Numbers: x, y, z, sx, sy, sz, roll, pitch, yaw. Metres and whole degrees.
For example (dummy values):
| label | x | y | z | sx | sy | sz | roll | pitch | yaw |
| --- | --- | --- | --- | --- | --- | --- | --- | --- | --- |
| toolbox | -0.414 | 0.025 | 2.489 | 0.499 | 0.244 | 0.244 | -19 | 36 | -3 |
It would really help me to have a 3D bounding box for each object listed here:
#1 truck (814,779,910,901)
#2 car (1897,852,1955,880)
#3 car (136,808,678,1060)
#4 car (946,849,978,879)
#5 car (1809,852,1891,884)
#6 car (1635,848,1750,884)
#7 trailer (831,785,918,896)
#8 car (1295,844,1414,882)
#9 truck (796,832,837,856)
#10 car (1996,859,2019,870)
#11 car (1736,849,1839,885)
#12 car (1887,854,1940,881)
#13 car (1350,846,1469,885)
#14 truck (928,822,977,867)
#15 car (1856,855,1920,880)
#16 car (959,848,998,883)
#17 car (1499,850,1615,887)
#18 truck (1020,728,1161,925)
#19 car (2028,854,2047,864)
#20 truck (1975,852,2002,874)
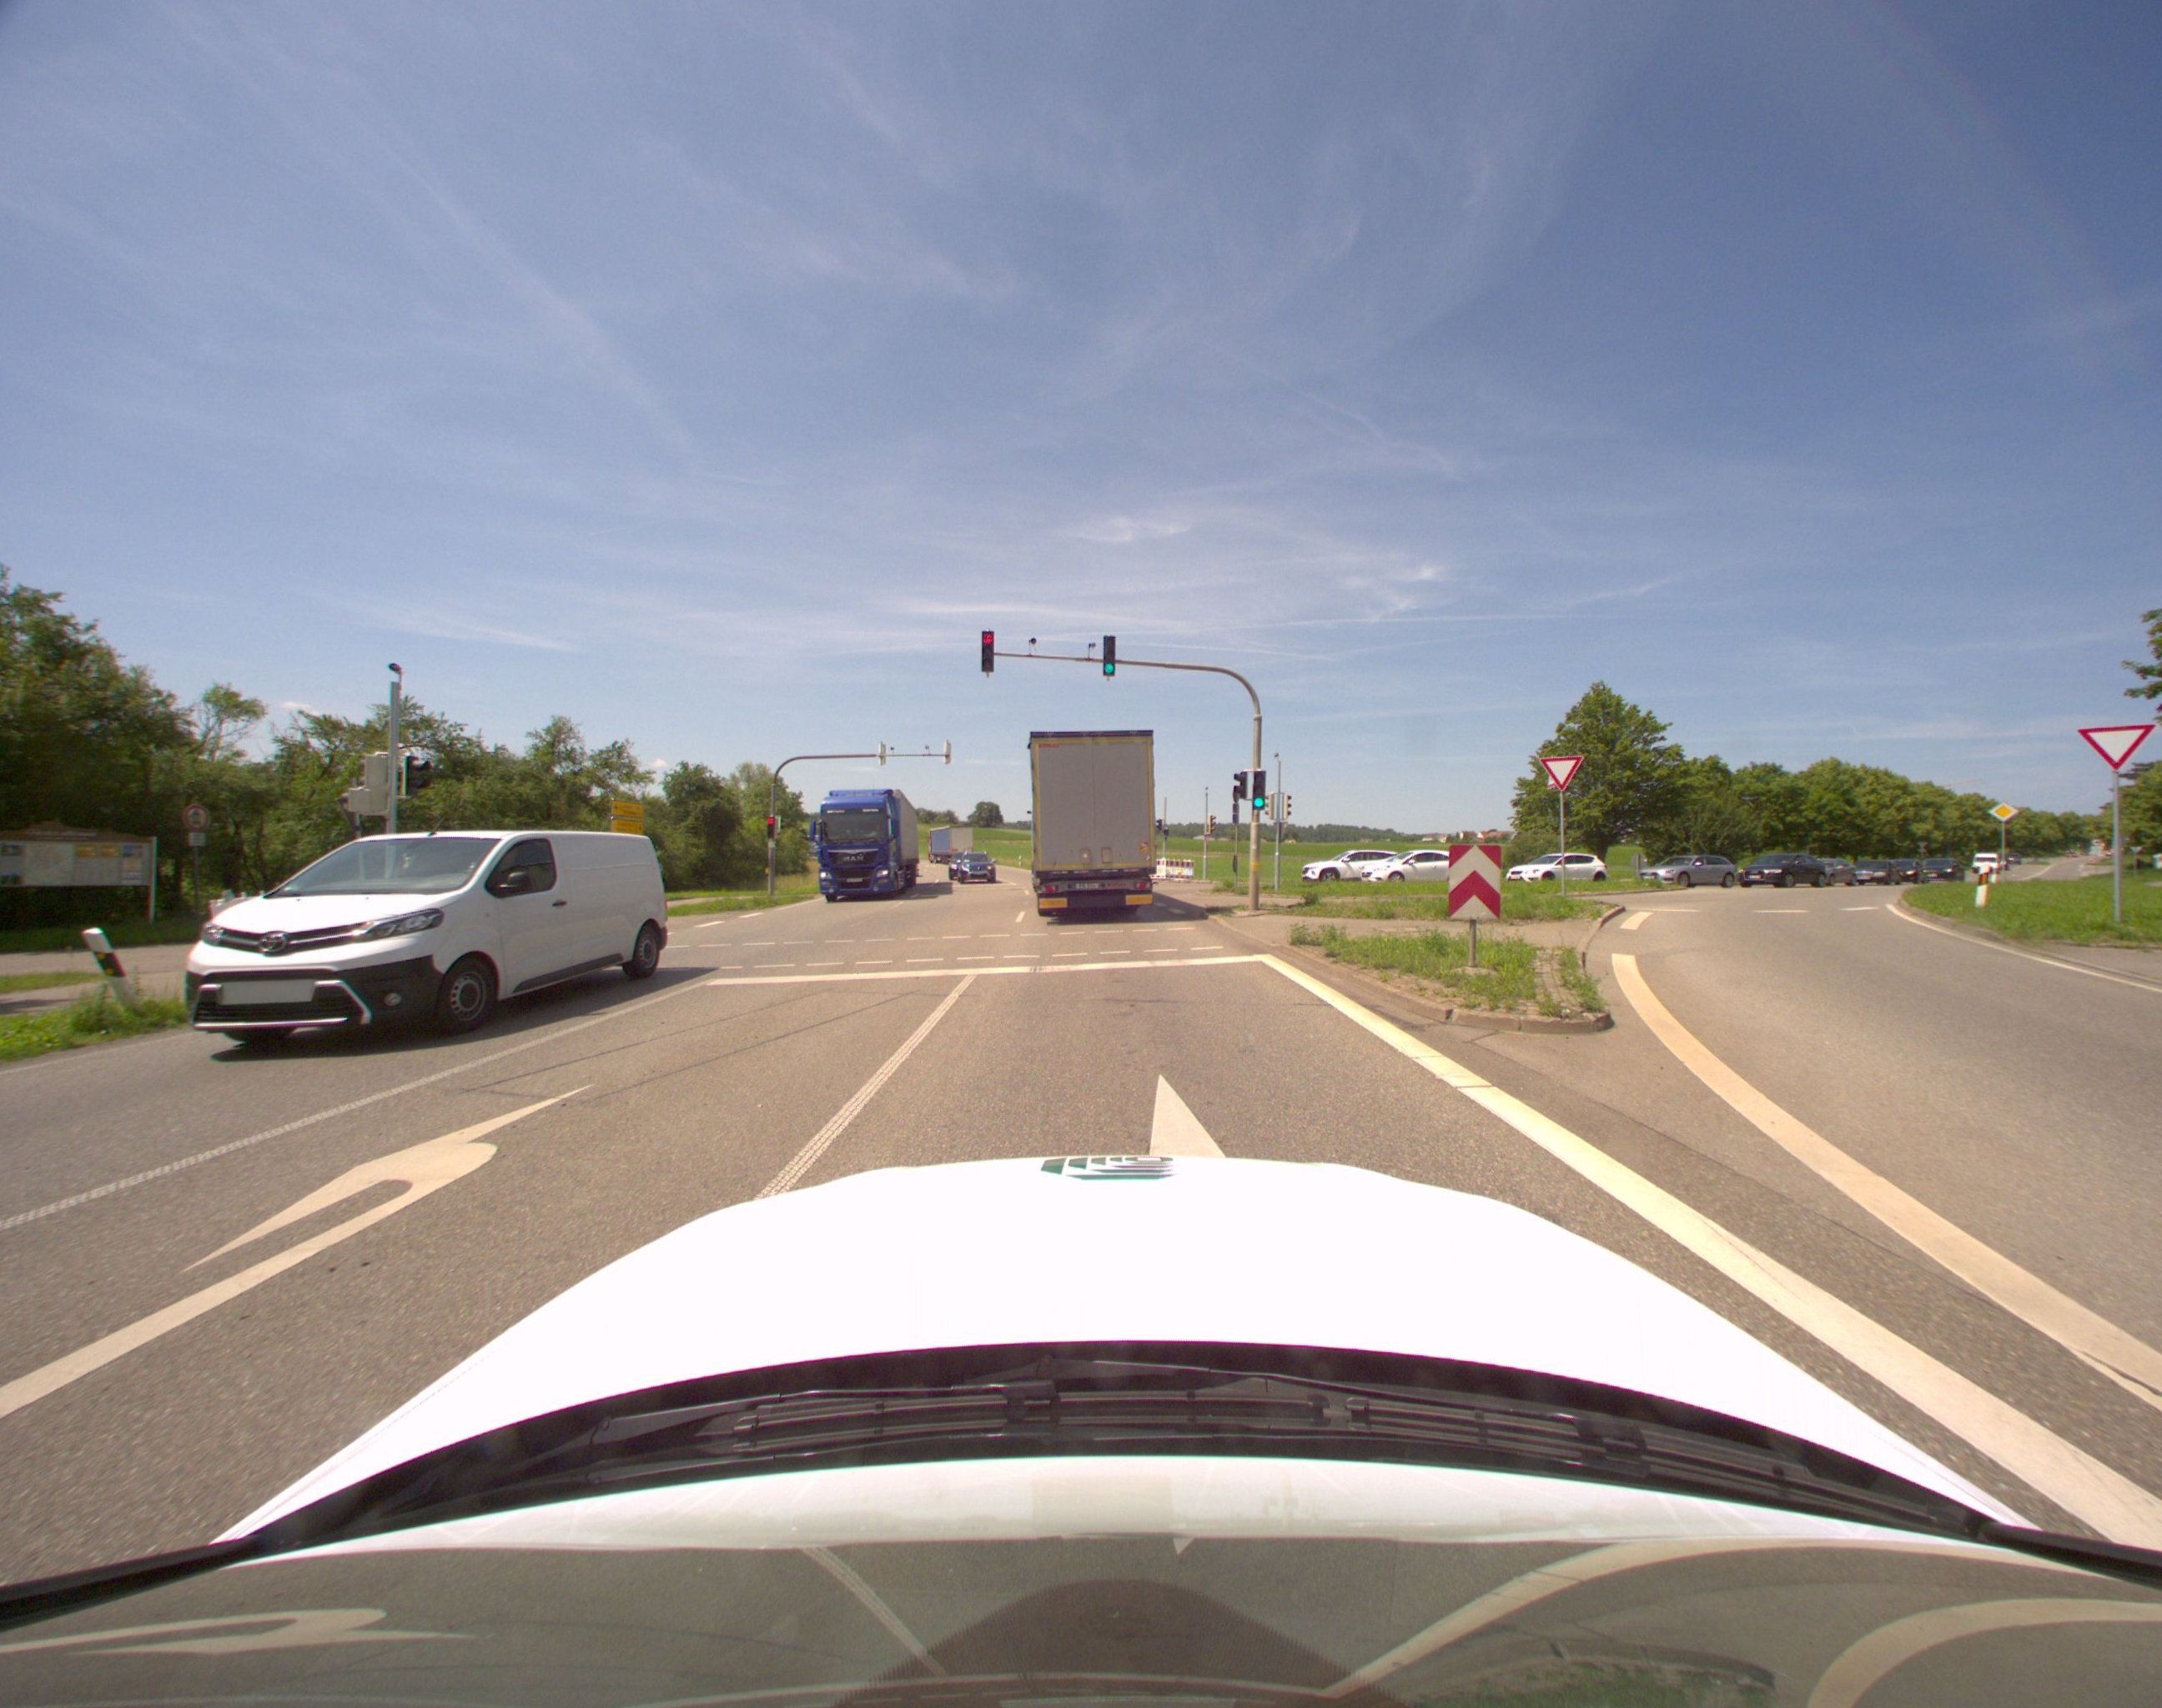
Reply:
| label | x | y | z | sx | sy | sz | roll | pitch | yaw |
| --- | --- | --- | --- | --- | --- | --- | --- | --- | --- |
| truck | -8.023 | -0.501 | 30.587 | 2.565 | 4.029 | 6.542 | -1 | 0 | -8 |
| car | 53.080 | 0.776 | 51.150 | 4.310 | 1.698 | 1.978 | 1 | -2 | -36 |
| car | -6.434 | 0.623 | 8.790 | 1.866 | 1.886 | 4.946 | -2 | 0 | -3 |
| car | -7.050 | 0.566 | 48.447 | 1.770 | 1.658 | 3.988 | -1 | 0 | -8 |
| car | 38.121 | 0.694 | 40.343 | 4.577 | 1.510 | 1.783 | 1 | -2 | -31 |
| car | 26.373 | 0.544 | 35.109 | 4.563 | 1.510 | 1.788 | 1 | -2 | -21 |
| trailer | -8.950 | -0.543 | 36.766 | 2.566 | 4.029 | 13.550 | -1 | 0 | -9 |
| car | 12.065 | 0.397 | 36.150 | 4.613 | 1.607 | 1.997 | 0 | -2 | -2 |
| truck | -51.984 | -1.876 | 159.678 | 3.556 | 4.241 | 13.255 | 1 | -2 | -37 |
| car | 130.680 | 1.490 | 114.872 | 4.020 | 1.649 | 1.977 | 1 | -2 | -39 |
| car | 32.107 | 0.639 | 37.010 | 4.568 | 1.510 | 1.786 | 2 | -2 | -24 |
| car | 48.829 | 0.805 | 47.742 | 4.253 | 1.510 | 1.780 | 1 | -2 | -39 |
| car | 12.893 | 0.456 | 32.083 | 3.958 | 1.419 | 1.822 | -1 | -1 | -9 |
| truck | -14.706 | -1.006 | 91.753 | 2.969 | 4.584 | 16.215 | -1 | 0 | -18 |
| car | 43.741 | 0.756 | 44.125 | 4.582 | 1.273 | 1.781 | 1 | -2 | -37 |
| car | -5.372 | 0.573 | 42.321 | 1.771 | 1.658 | 3.986 | -1 | 0 | -10 |
| car | 19.622 | 0.576 | 33.615 | 4.099 | 1.419 | 1.791 | -1 | -1 | -15 |
| truck | -0.004 | -0.580 | 21.392 | 2.801 | 3.946 | 9.581 | -1 | 0 | -2 |
| car | 166.058 | 0.927 | 141.359 | 4.020 | 1.649 | 1.977 | 1 | -2 | -39 |
| truck | 110.756 | 1.089 | 99.397 | 4.020 | 2.598 | 1.977 | 1 | -2 | -39 |
